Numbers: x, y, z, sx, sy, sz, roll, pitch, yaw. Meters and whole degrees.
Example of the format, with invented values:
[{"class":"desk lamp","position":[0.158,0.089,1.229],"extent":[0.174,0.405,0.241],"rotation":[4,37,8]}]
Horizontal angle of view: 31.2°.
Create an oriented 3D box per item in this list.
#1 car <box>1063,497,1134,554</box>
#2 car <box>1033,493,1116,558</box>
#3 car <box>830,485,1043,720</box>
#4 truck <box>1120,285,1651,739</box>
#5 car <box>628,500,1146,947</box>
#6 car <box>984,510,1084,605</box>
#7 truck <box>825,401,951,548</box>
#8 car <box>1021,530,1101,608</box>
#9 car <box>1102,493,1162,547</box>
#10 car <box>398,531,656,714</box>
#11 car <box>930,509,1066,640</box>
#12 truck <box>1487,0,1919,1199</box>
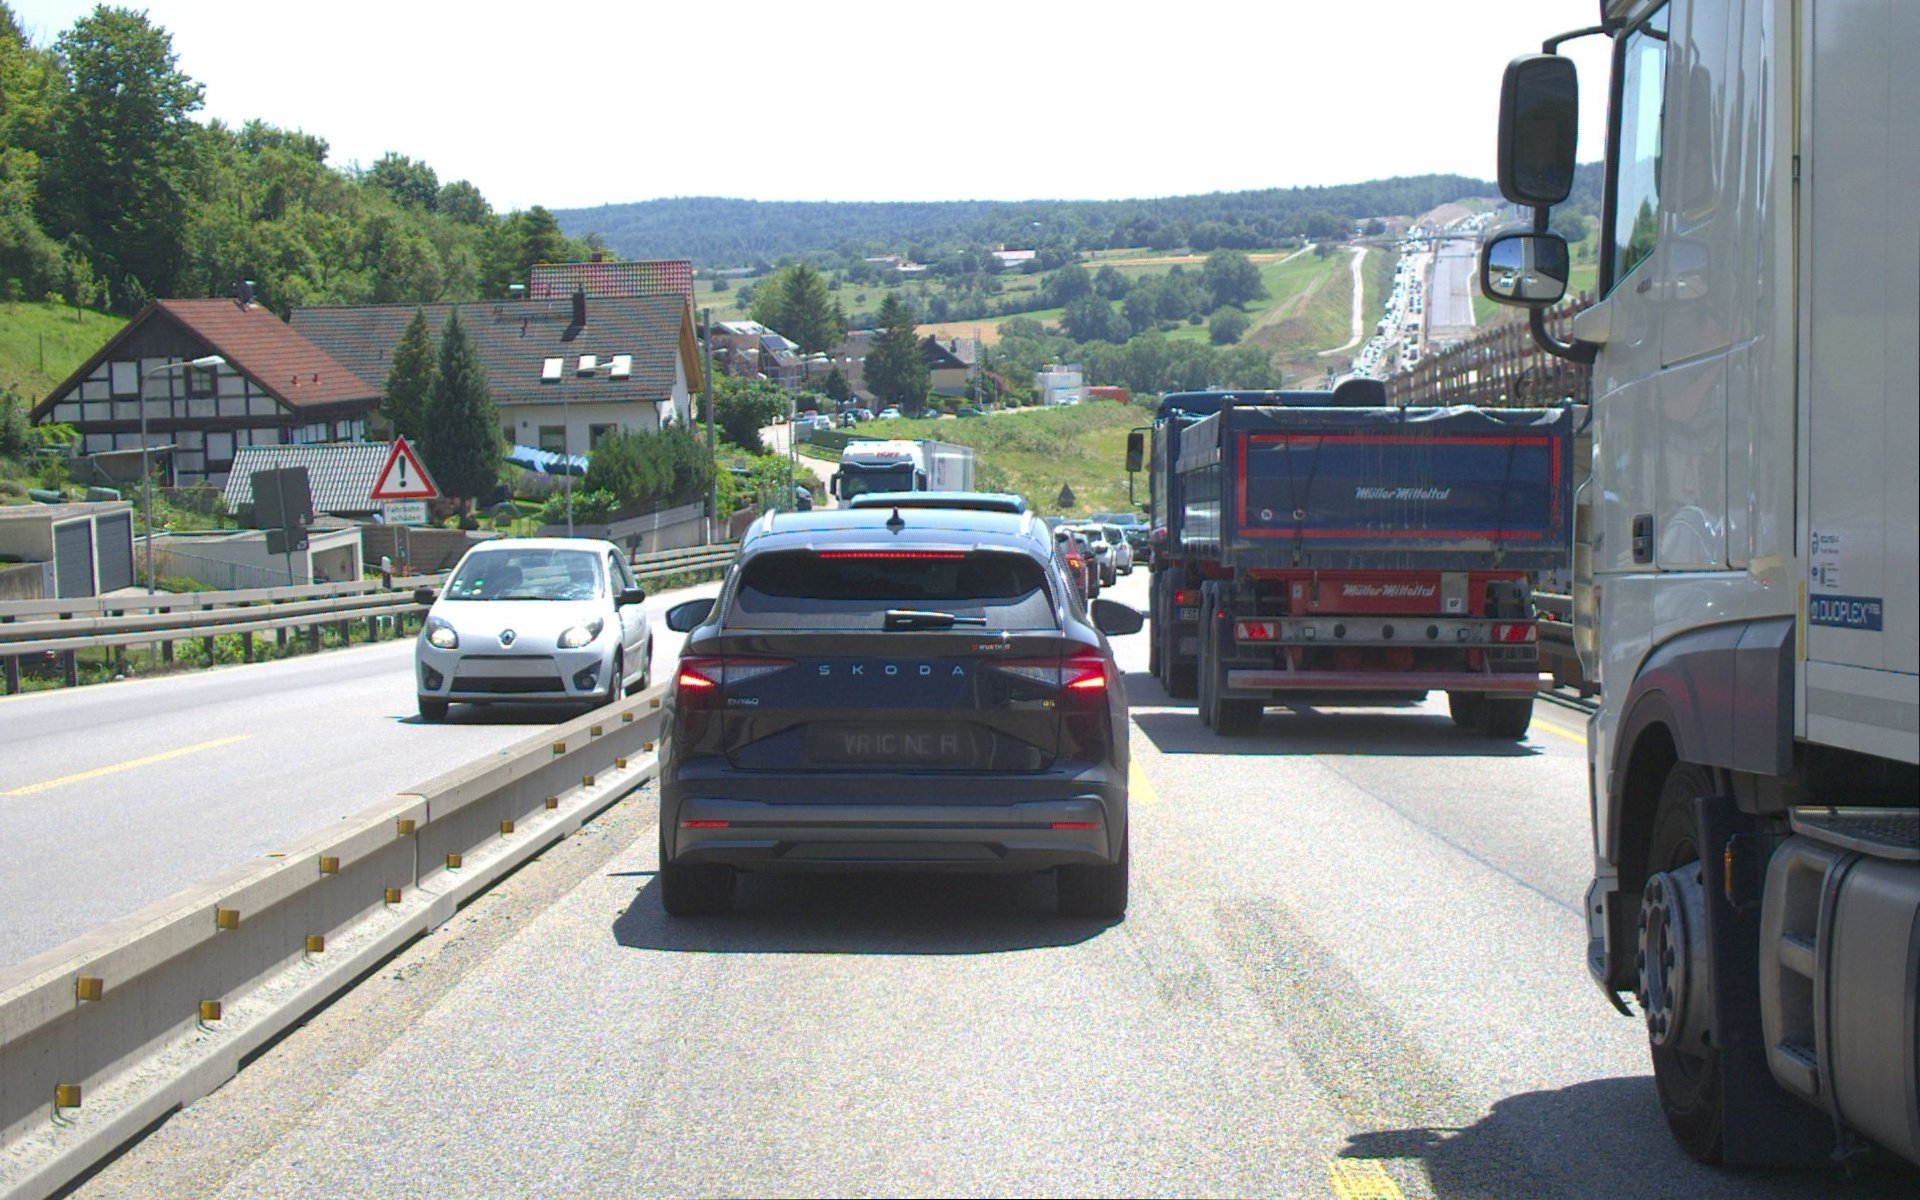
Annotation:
[{"class":"car","position":[4.094,-2.180,101.247],"extent":[1.994,1.579,3.836],"rotation":[1,1,4]},{"class":"car","position":[2.951,-1.877,87.975],"extent":[1.994,1.579,3.836],"rotation":[1,1,4]},{"class":"car","position":[-0.226,-0.049,30.228],"extent":[1.707,1.875,4.001],"rotation":[1,2,-1]},{"class":"truck","position":[3.318,-0.698,30.791],"extent":[3.195,3.180,12.809],"rotation":[1,1,0]},{"class":"car","position":[-0.297,0.425,14.389],"extent":[1.842,1.581,3.908],"rotation":[1,1,-1]},{"class":"car","position":[1.383,-0.805,62.949],"extent":[1.707,1.616,4.000],"rotation":[1,2,3]},{"class":"truck","position":[-2.199,-3.883,108.445],"extent":[3.303,4.347,8.300],"rotation":[1,1,3]},{"class":"car","position":[2.304,-0.722,77.684],"extent":[1.707,1.616,4.000],"rotation":[1,2,3]},{"class":"car","position":[5.829,-2.680,115.950],"extent":[1.701,1.722,3.835],"rotation":[1,1,7]},{"class":"car","position":[-3.603,0.142,29.189],"extent":[1.747,1.421,3.710],"rotation":[0,2,0]},{"class":"car","position":[0.475,-0.379,46.626],"extent":[1.707,1.616,4.001],"rotation":[1,2,-1]},{"class":"truck","position":[2.851,-0.699,5.561],"extent":[2.513,4.011,8.238],"rotation":[1,1,-1]}]
